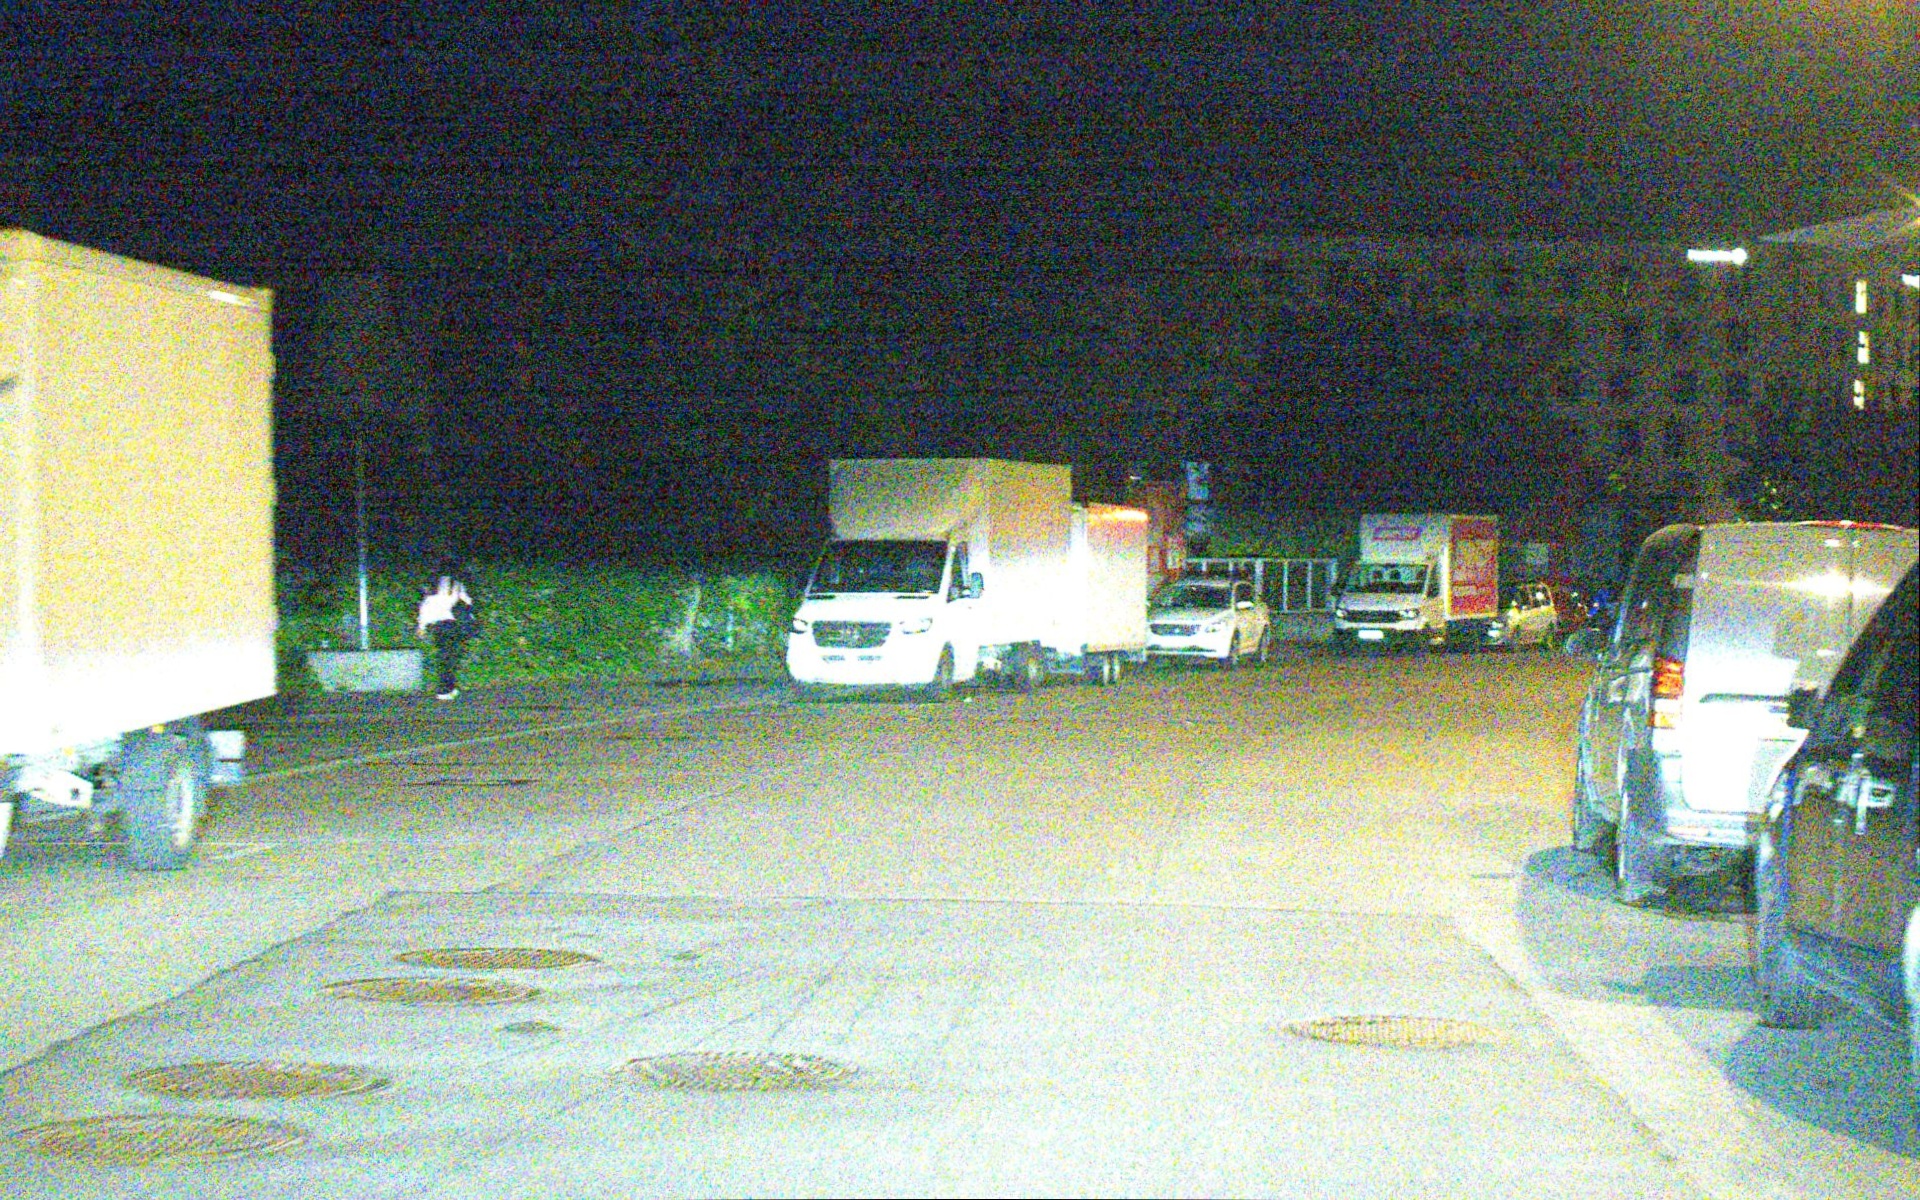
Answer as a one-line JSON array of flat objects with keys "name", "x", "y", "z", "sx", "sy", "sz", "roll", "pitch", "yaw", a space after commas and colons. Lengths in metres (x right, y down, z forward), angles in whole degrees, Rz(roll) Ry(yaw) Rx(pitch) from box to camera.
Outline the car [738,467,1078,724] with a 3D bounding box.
[{"name": "car", "x": -0.541, "y": -0.076, "z": 45.968, "sx": 2.521, "sy": 3.160, "sz": 7.132, "roll": -1, "pitch": 0, "yaw": 16}]

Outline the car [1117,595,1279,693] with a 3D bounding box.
[{"name": "car", "x": 4.417, "y": 0.804, "z": 63.264, "sx": 1.995, "sy": 1.694, "sz": 4.202, "roll": 2, "pitch": 0, "yaw": 18}]

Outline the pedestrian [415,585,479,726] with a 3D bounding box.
[{"name": "pedestrian", "x": -6.154, "y": 0.659, "z": 41.202, "sx": 0.675, "sy": 1.647, "sz": 0.653, "roll": 0, "pitch": 2, "yaw": -15}]

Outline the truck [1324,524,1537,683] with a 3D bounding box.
[{"name": "truck", "x": 10.989, "y": 0.038, "z": 79.522, "sx": 1.996, "sy": 3.392, "sz": 8.966, "roll": 3, "pitch": 1, "yaw": 26}]

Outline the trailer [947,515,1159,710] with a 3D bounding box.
[{"name": "trailer", "x": 1.472, "y": 0.145, "z": 52.367, "sx": 1.995, "sy": 2.803, "sz": 4.699, "roll": 1, "pitch": 1, "yaw": 17}]

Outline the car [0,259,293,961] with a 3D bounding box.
[{"name": "car", "x": -5.181, "y": 0.041, "z": 15.786, "sx": 2.519, "sy": 2.917, "sz": 7.201, "roll": -1, "pitch": 0, "yaw": 3}]

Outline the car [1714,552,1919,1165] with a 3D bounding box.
[{"name": "car", "x": 3.545, "y": 0.731, "z": 10.589, "sx": 1.721, "sy": 1.655, "sz": 3.999, "roll": 2, "pitch": 0, "yaw": 3}]

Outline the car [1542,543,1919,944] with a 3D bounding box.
[{"name": "car", "x": 4.161, "y": 0.684, "z": 17.943, "sx": 1.721, "sy": 1.815, "sz": 3.999, "roll": 2, "pitch": 0, "yaw": 3}]
